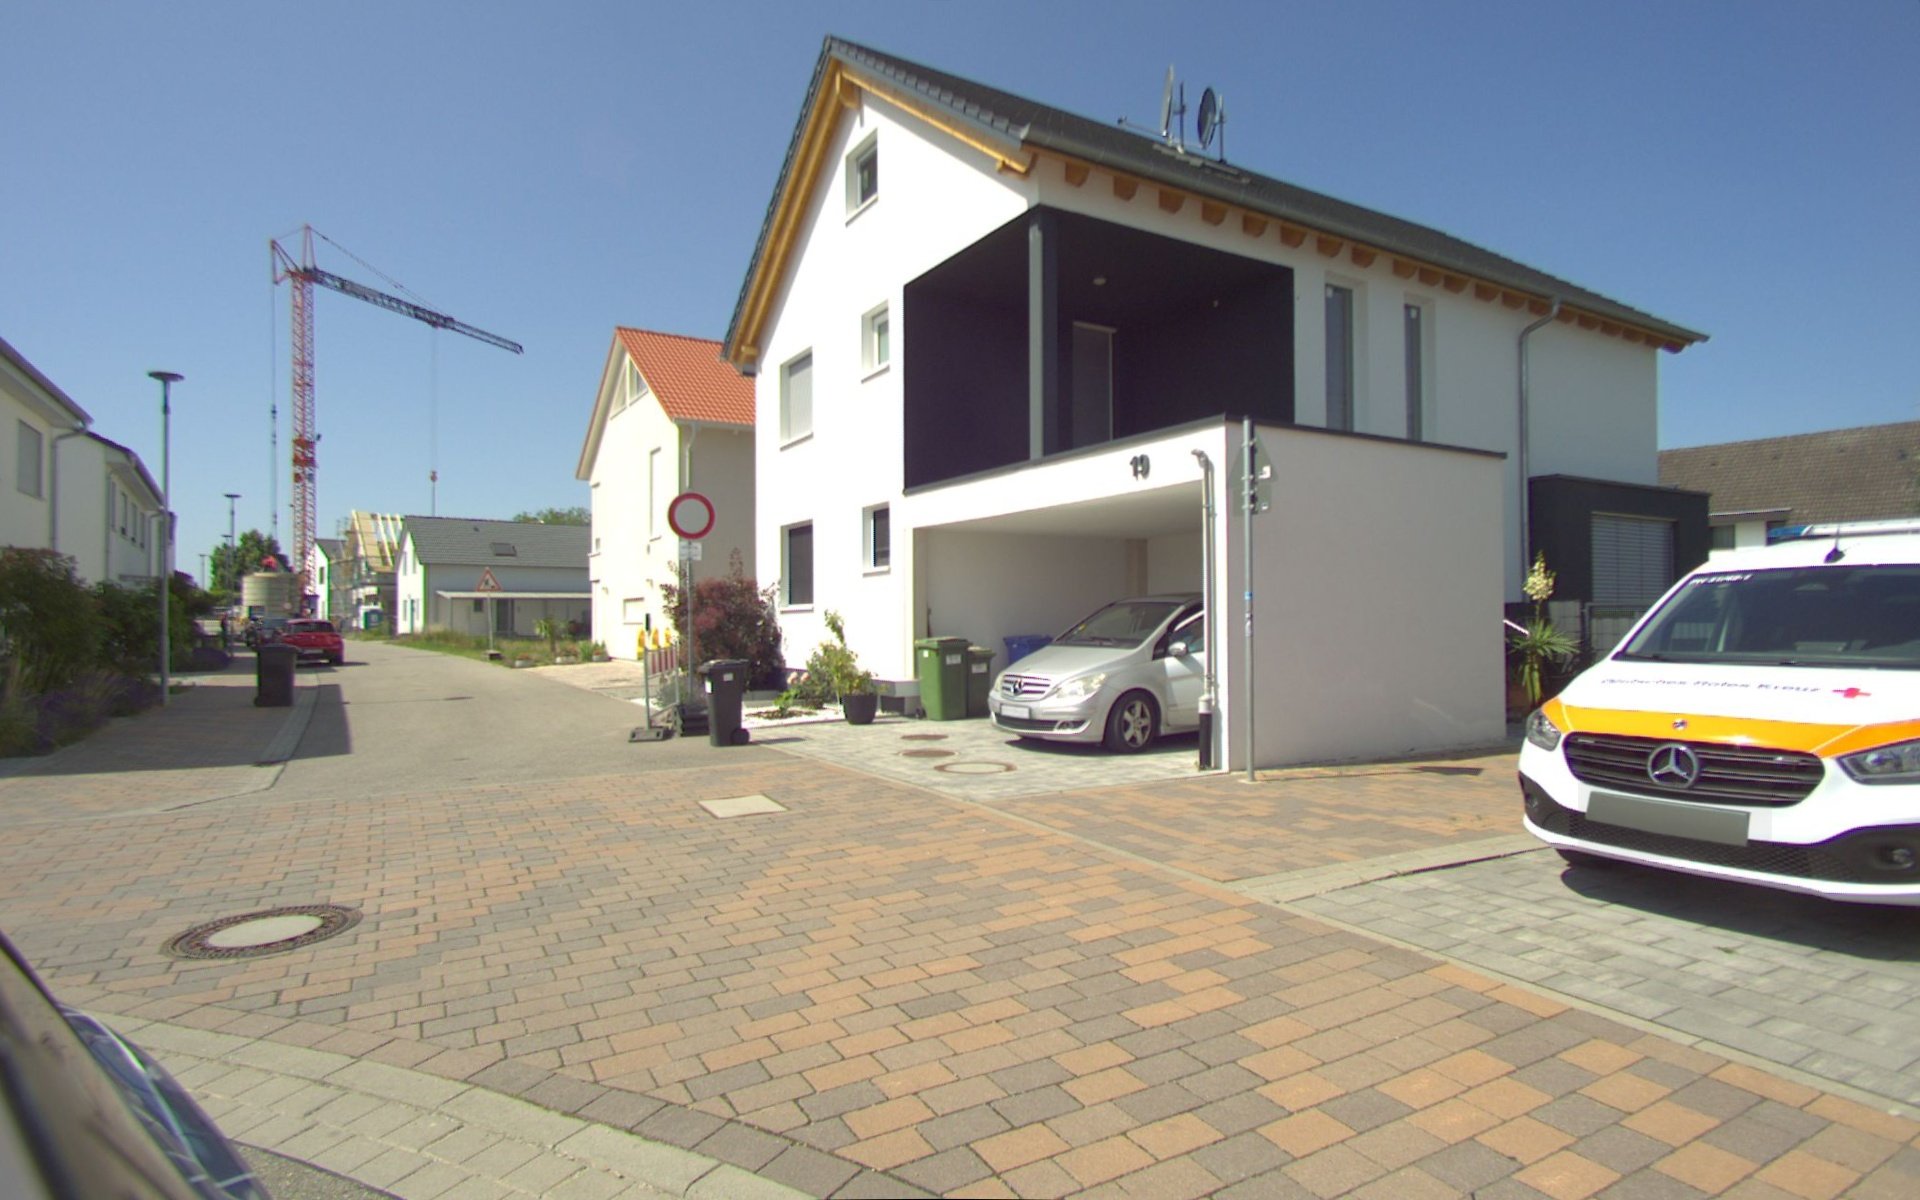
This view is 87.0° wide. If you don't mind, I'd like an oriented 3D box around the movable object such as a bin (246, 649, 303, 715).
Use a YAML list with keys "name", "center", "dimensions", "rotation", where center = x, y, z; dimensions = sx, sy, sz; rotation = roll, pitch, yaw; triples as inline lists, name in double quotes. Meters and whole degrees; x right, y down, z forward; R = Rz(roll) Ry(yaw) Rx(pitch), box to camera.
- name: "movable object such as a bin"
  center: [-11.825, 1.403, 17.475]
  dimensions: [0.810, 1.072, 0.591]
  rotation: [0, 0, -33]

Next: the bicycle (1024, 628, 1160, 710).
- name: "bicycle"
  center: [2.025, 1.007, 15.344]
  dimensions: [2.098, 1.135, 0.781]
  rotation: [0, -1, -36]

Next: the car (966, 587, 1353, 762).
- name: "car"
  center: [2.248, 0.718, 11.028]
  dimensions: [4.095, 1.574, 1.750]
  rotation: [1, -2, -34]

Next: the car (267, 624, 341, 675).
- name: "car"
  center: [-21.186, 1.543, 32.730]
  dimensions: [1.880, 1.490, 4.011]
  rotation: [0, 0, -33]

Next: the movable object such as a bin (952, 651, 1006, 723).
- name: "movable object such as a bin"
  center: [0.250, 1.158, 13.635]
  dimensions: [0.491, 0.912, 0.563]
  rotation: [0, -1, -33]

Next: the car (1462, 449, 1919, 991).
- name: "car"
  center: [4.984, 0.452, 5.360]
  dimensions: [4.670, 1.889, 1.944]
  rotation: [1, -2, -31]

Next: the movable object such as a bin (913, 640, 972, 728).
- name: "movable object such as a bin"
  center: [-0.235, 1.086, 13.250]
  dimensions: [0.491, 1.100, 0.603]
  rotation: [0, -3, -33]

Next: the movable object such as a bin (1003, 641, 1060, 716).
- name: "movable object such as a bin"
  center: [0.994, 1.082, 14.185]
  dimensions: [0.491, 0.994, 0.679]
  rotation: [0, 0, -33]

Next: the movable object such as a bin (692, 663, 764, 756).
- name: "movable object such as a bin"
  center: [-2.556, 1.186, 11.142]
  dimensions: [0.608, 0.944, 0.566]
  rotation: [0, -2, -33]

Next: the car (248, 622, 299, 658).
- name: "car"
  center: [-32.945, 1.885, 48.529]
  dimensions: [1.775, 1.630, 3.683]
  rotation: [0, -1, -39]

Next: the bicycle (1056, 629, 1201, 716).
- name: "bicycle"
  center: [2.444, 1.001, 14.581]
  dimensions: [2.097, 1.135, 0.733]
  rotation: [0, -1, -32]
